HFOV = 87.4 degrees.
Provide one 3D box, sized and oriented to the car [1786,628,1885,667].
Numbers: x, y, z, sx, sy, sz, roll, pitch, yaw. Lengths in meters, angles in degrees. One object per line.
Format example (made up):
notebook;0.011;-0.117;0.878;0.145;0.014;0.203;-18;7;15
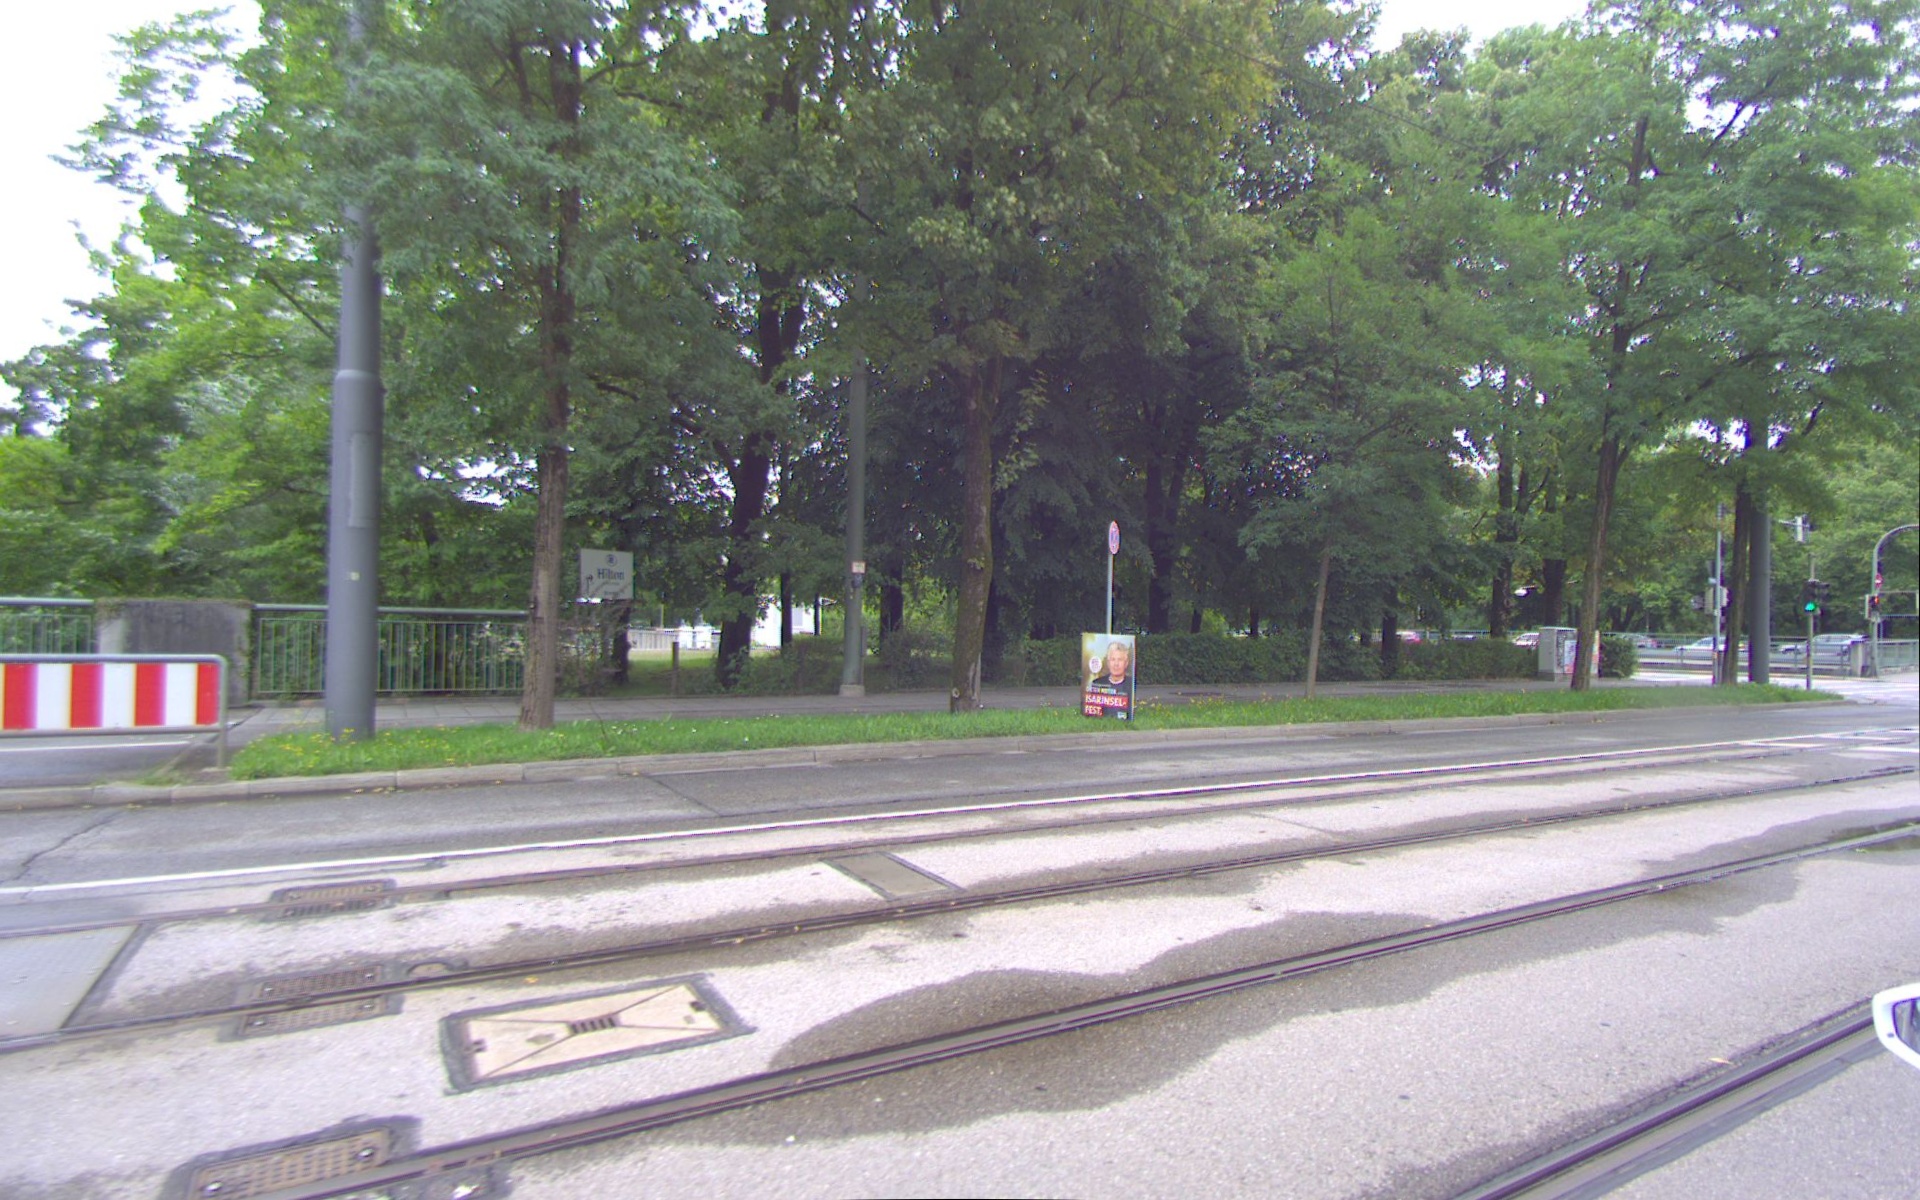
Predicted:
car;49.835;2.672;57.243;1.476;1.912;3.994;2;1;-35

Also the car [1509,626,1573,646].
car;40.940;2.543;70.865;1.238;1.201;3.704;2;0;-34

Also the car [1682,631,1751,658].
car;46.522;2.714;61.817;1.238;1.471;3.090;2;0;-34

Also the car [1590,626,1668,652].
car;43.942;2.552;66.059;1.703;1.423;3.900;2;0;-33
